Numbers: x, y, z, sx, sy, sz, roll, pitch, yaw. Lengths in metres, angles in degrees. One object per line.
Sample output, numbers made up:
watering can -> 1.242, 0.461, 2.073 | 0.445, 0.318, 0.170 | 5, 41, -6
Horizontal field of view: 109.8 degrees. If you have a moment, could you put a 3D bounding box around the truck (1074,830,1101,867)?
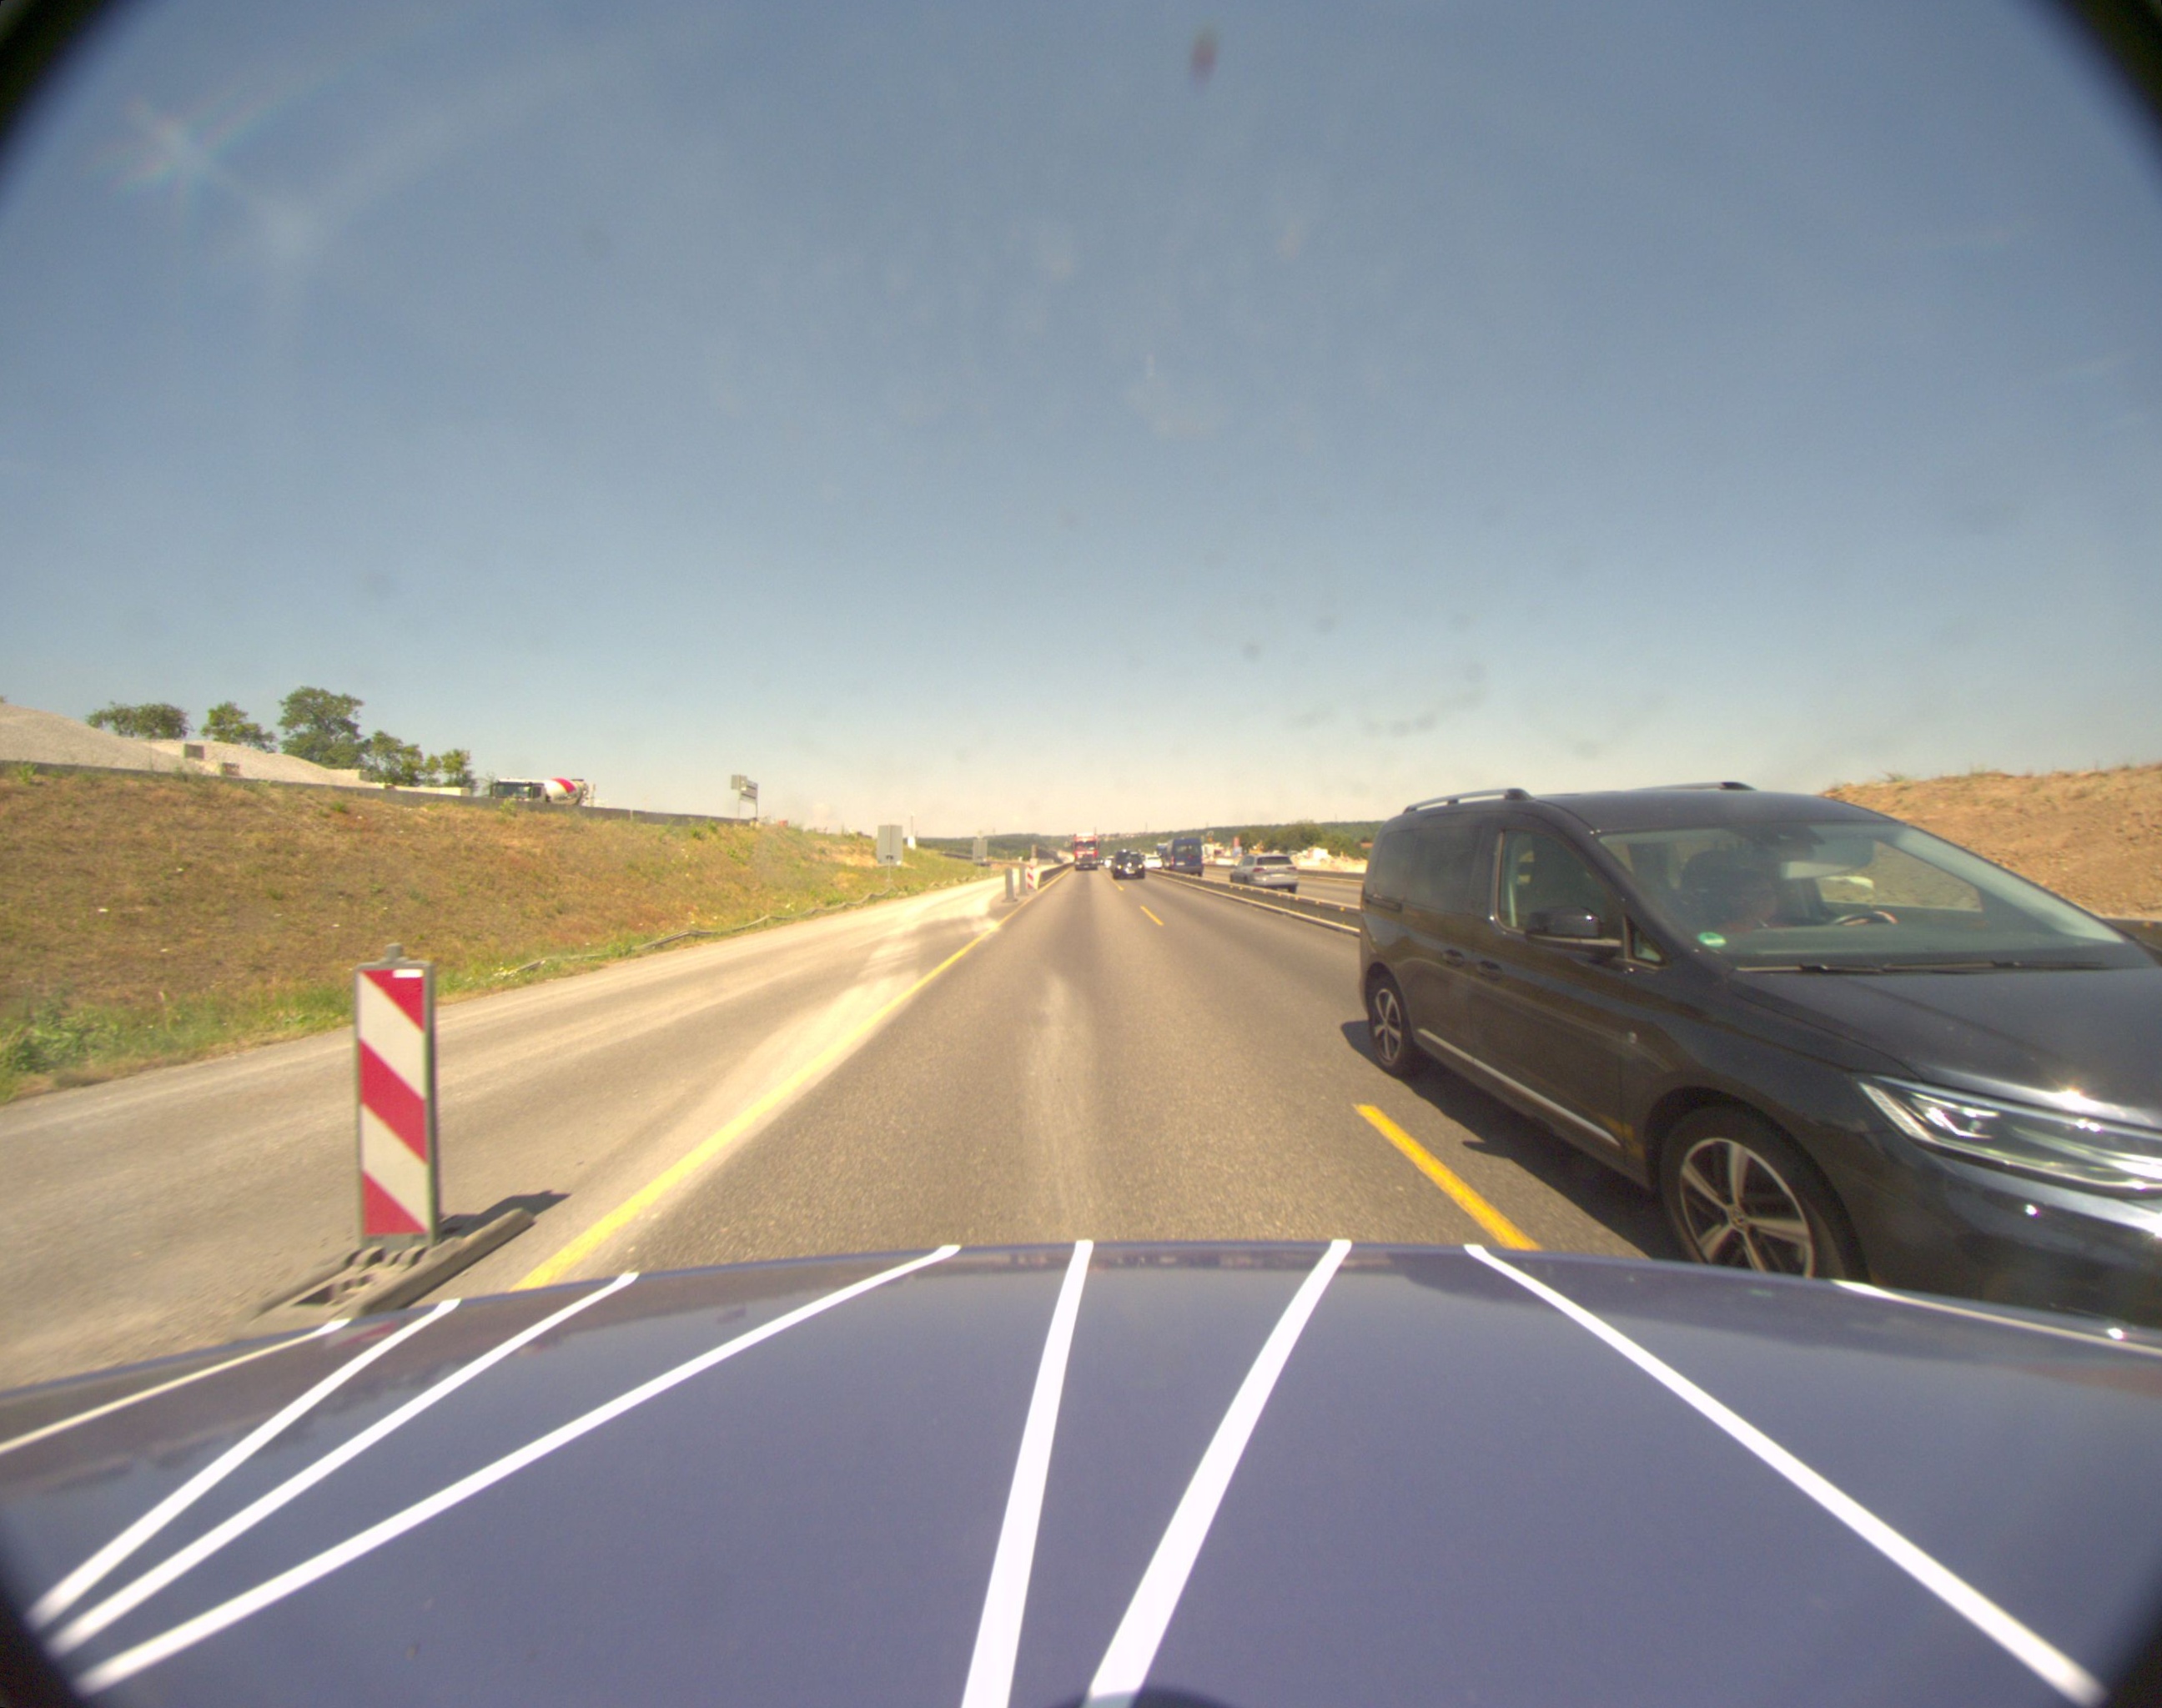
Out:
truck -> 0.739, -0.551, 83.010 | 2.626, 3.880, 4.934 | -1, 0, 3

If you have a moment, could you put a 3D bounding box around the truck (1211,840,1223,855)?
truck -> 37.698, -1.878, 210.818 | 2.705, 4.038, 5.508 | -1, 0, 17

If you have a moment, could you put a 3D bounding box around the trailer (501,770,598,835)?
trailer -> -37.384, -3.503, 53.813 | 2.765, 4.090, 6.740 | -1, 0, -8

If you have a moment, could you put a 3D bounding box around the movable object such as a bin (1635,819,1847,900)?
movable object such as a bin -> 22.825, 0.164, 26.804 | 1.706, 2.446, 6.744 | -1, 0, 1

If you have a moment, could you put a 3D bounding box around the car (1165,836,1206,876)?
car -> 6.727, 0.111, 49.337 | 1.960, 2.453, 5.357 | -1, 0, 1

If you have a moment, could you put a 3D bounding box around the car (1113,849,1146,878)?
car -> 3.105, 0.591, 49.011 | 1.799, 1.776, 3.999 | -1, 0, -1

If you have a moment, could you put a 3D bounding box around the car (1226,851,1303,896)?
car -> 6.672, 0.648, 28.114 | 1.791, 1.467, 4.524 | -2, 0, 1

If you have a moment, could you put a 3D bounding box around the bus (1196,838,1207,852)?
bus -> 27.996, -2.036, 176.577 | 2.353, 3.107, 7.233 | -1, 0, 8

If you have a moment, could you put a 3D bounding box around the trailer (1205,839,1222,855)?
trailer -> 35.683, -1.767, 204.018 | 2.763, 4.090, 13.994 | -1, 0, 17

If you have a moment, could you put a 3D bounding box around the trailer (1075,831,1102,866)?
trailer -> 1.038, -0.635, 89.752 | 2.701, 3.852, 12.424 | -1, 0, 3

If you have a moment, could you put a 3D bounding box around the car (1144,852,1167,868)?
car -> 7.083, 0.540, 72.792 | 1.682, 1.433, 4.671 | -1, 0, 0

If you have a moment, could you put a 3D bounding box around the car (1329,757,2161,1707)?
car -> 2.863, 0.680, 3.541 | 1.926, 1.779, 4.603 | -2, 0, 1

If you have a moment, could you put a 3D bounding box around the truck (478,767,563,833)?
truck -> -36.863, -3.485, 50.141 | 2.754, 4.072, 4.097 | -1, 0, -8

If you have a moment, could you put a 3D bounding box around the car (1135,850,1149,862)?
car -> 9.538, 0.321, 118.830 | 1.776, 1.731, 5.038 | -1, 0, 1

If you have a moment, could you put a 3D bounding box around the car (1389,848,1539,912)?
car -> 9.787, 0.587, 19.857 | 1.695, 1.425, 4.448 | -2, 0, 1

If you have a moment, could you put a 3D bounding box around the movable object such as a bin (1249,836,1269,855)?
movable object such as a bin -> 41.797, -1.973, 178.356 | 2.926, 4.304, 9.341 | -1, 0, 24
